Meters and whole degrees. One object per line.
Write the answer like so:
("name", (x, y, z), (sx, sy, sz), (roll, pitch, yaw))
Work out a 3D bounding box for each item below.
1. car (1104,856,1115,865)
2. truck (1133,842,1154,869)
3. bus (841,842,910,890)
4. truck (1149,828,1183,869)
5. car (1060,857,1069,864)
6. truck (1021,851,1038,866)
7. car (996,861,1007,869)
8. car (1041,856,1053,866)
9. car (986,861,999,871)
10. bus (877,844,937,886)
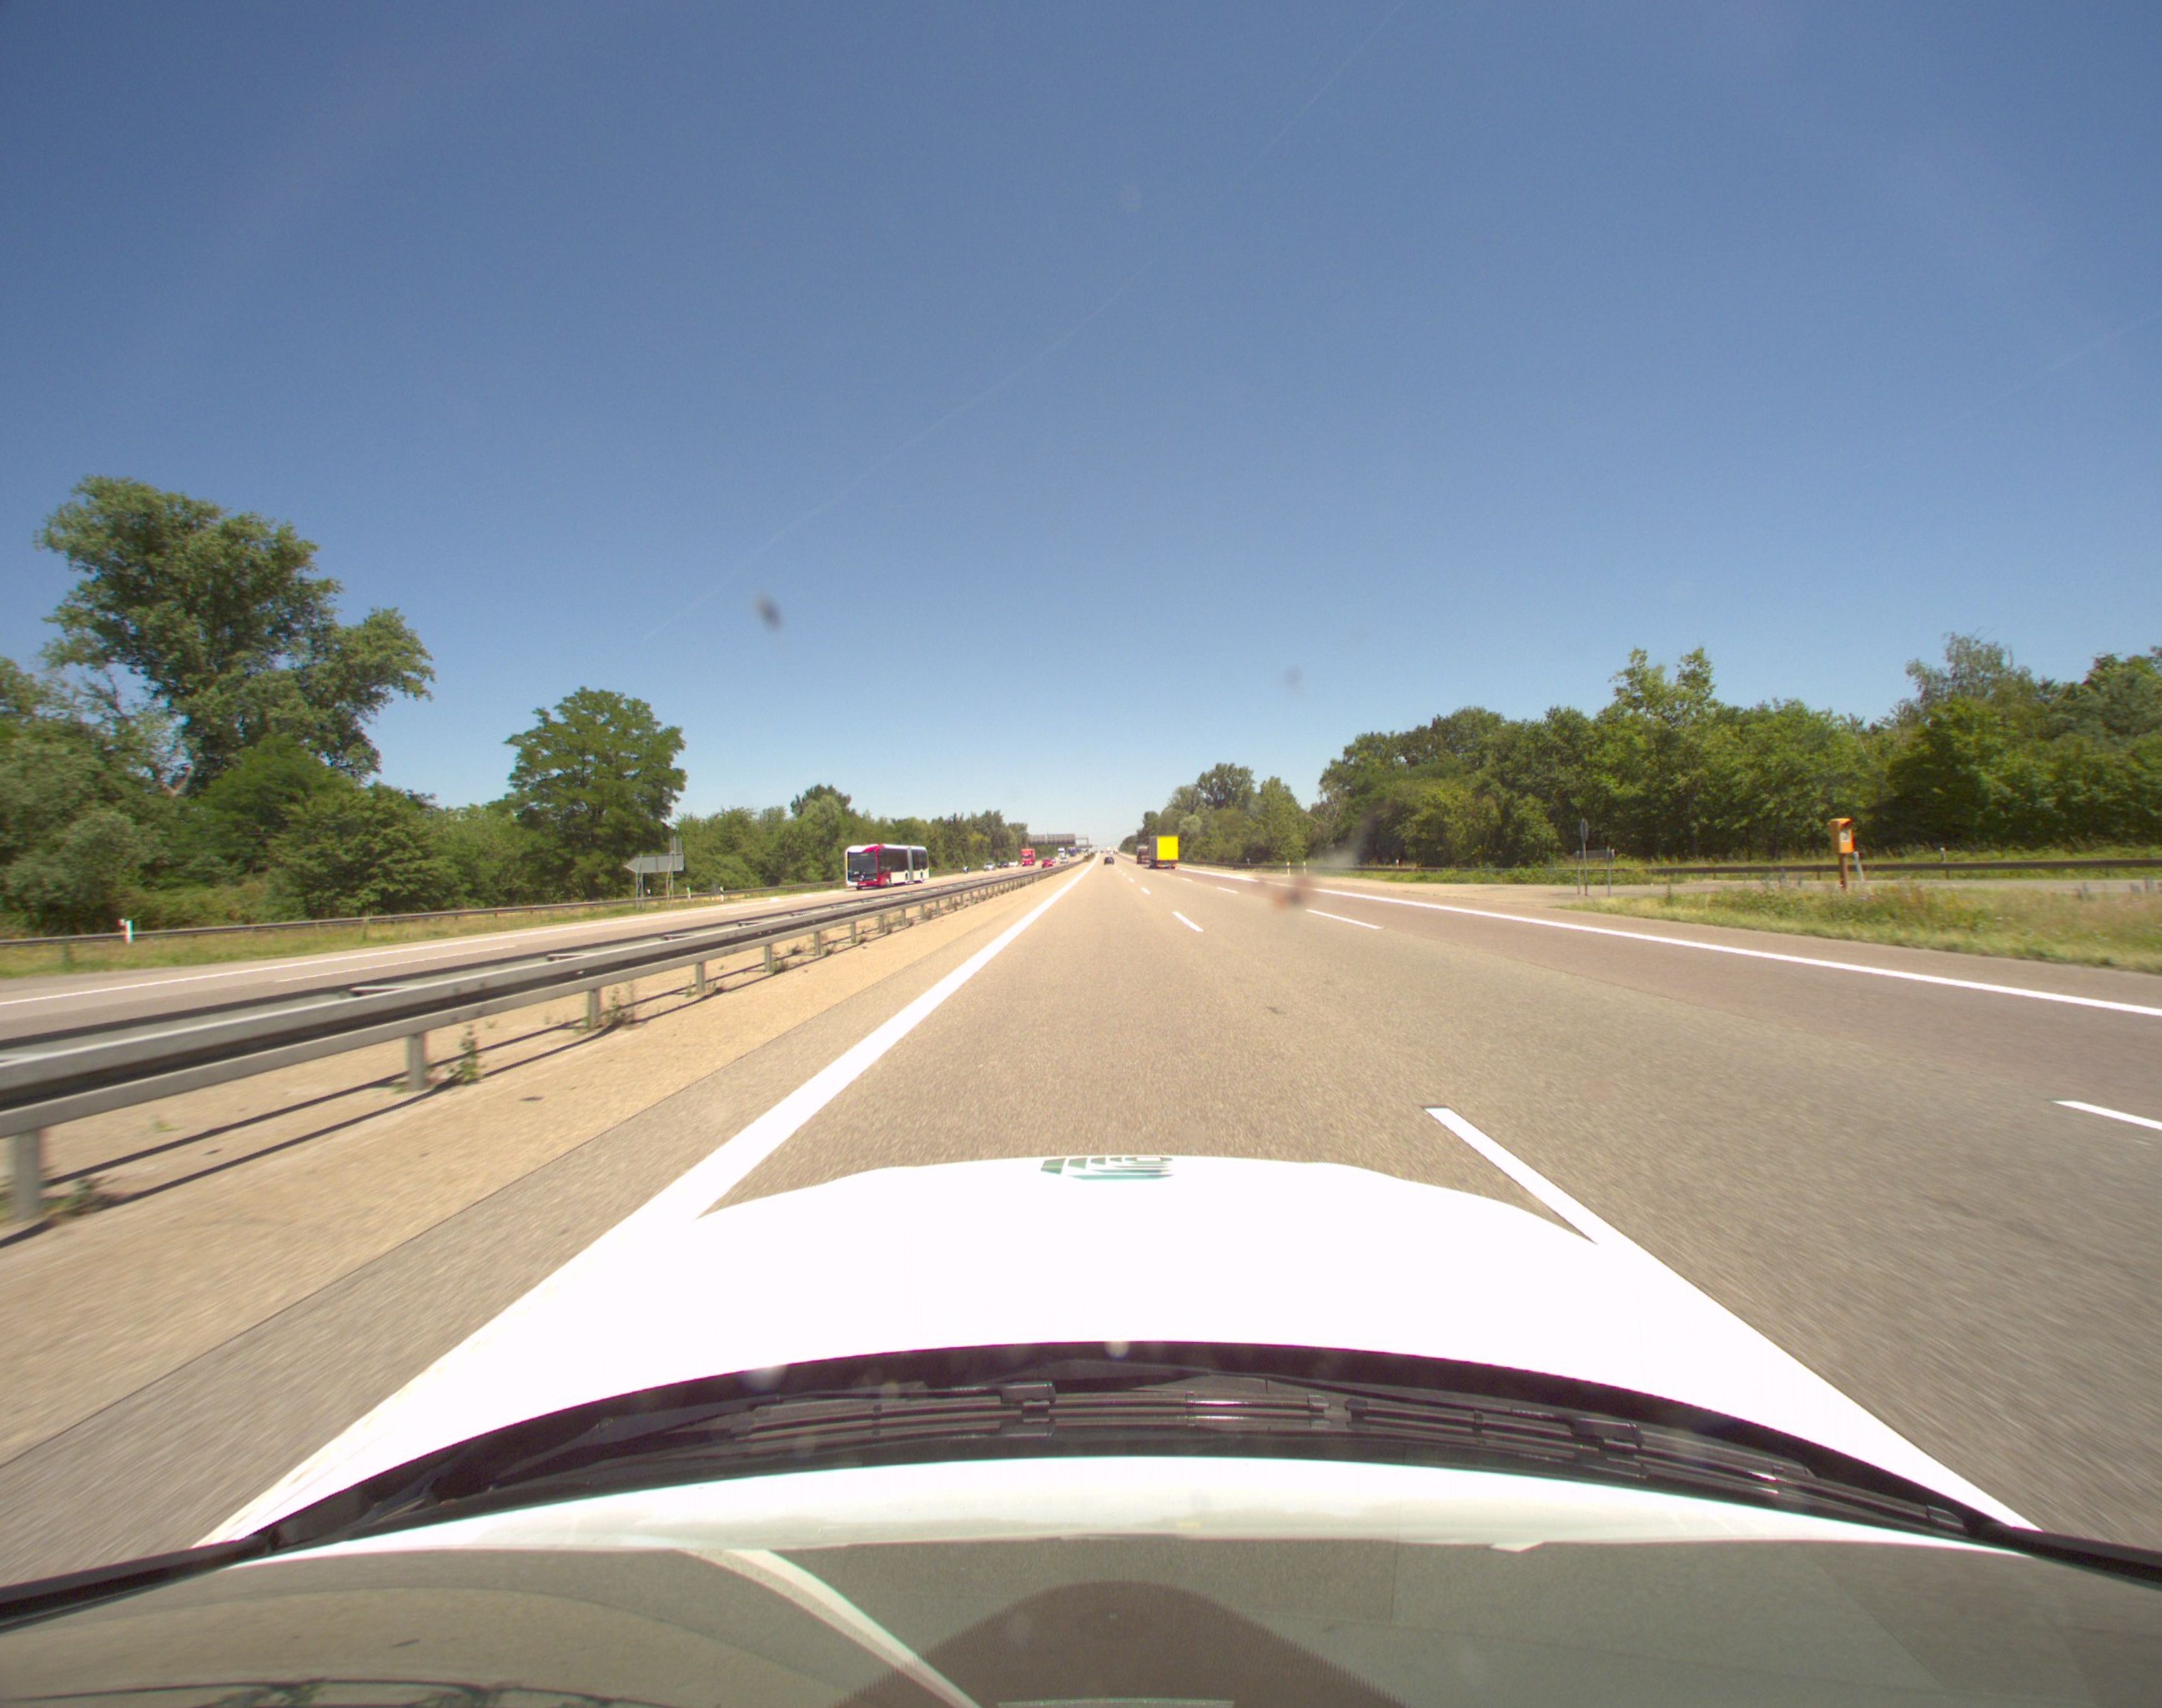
("car", (5.198, 1.165, 148.124), (1.820, 1.706, 4.001), (-1, 0, 1))
("truck", (11.866, 0.346, 155.356), (3.354, 4.881, 15.094), (-1, 0, 2))
("bus", (-15.882, 0.899, 63.704), (2.753, 3.447, 8.935), (-2, 0, 2))
("truck", (10.807, -0.638, 105.271), (3.363, 4.881, 15.094), (-1, 0, 2))
("car", (-4.024, 1.567, 198.069), (1.802, 1.504, 4.001), (-2, 0, 2))
("truck", (-11.780, 1.062, 187.206), (2.588, 3.212, 12.129), (-1, 0, 2))
("car", (-16.808, 2.297, 173.149), (1.802, 1.504, 4.001), (-2, 0, 2))
("car", (-5.802, 1.192, 140.311), (1.802, 1.504, 4.001), (-2, 0, 2))
("car", (-16.081, 2.221, 147.872), (1.802, 1.772, 4.001), (-2, 0, 2))
("bus", (-15.495, 0.953, 73.258), (2.753, 3.447, 10.149), (-2, 0, 2))
